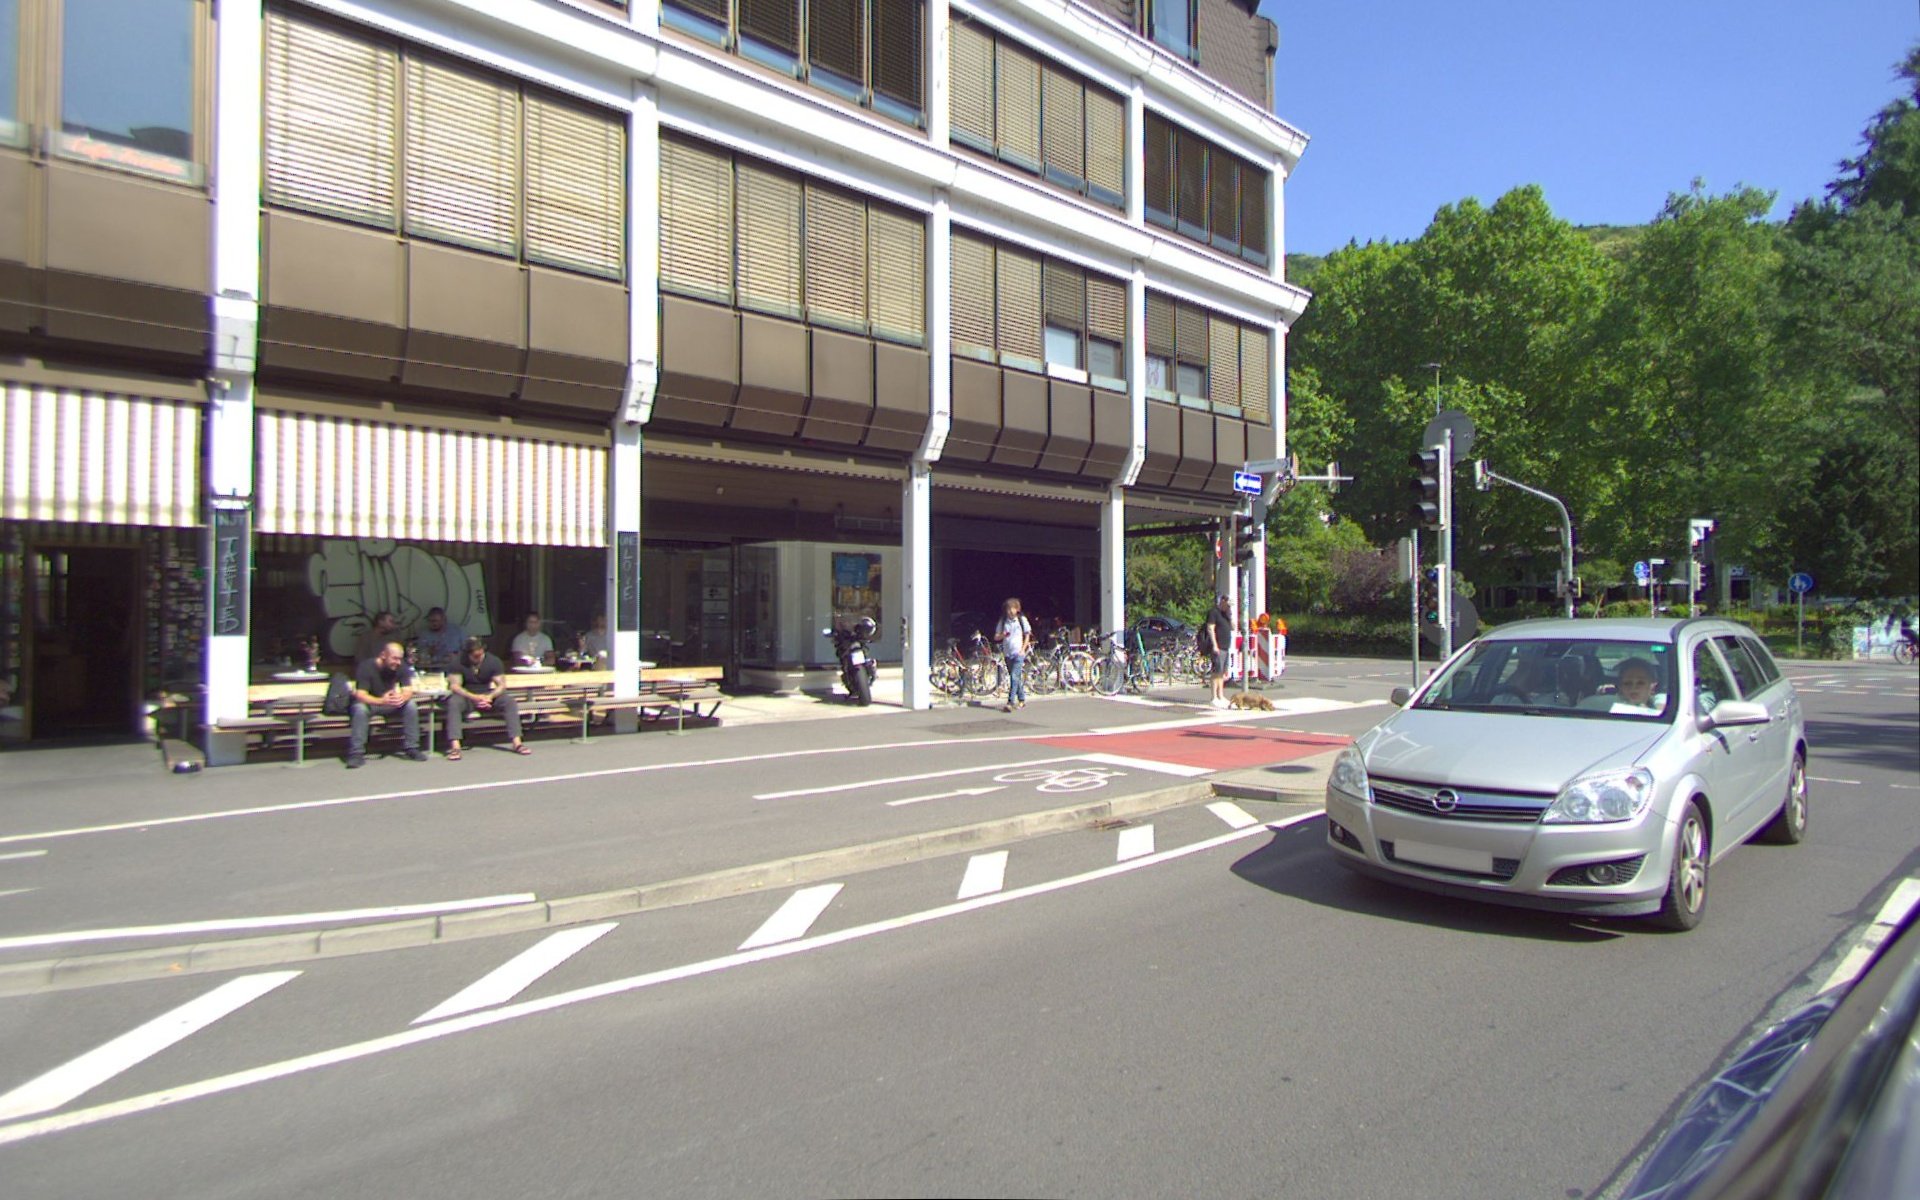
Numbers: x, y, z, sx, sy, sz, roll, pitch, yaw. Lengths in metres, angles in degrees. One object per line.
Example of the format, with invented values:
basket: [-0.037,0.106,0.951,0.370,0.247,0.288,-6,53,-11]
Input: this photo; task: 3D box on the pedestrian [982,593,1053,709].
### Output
pedestrian: [0.868,0.755,15.347,0.683,1.684,0.836,-1,0,-31]

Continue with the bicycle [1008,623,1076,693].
bicycle: [1.413,0.993,17.705,0.272,1.134,1.576,1,0,-33]

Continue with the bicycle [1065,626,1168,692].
bicycle: [2.855,1.046,18.338,2.199,1.135,0.278,1,-2,-32]

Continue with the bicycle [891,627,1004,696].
bicycle: [-0.251,1.011,17.180,2.230,1.111,0.274,-1,-2,38]

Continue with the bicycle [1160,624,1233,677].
bicycle: [4.896,1.048,20.986,1.442,1.079,0.309,0,0,-4]

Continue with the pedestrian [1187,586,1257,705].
pedestrian: [4.264,0.722,16.487,0.683,1.859,0.836,-1,0,-31]

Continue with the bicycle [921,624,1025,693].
bicycle: [0.190,0.991,17.600,2.235,1.135,0.273,-2,-2,44]

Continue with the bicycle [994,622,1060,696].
bicycle: [1.134,0.996,17.475,0.272,1.222,1.551,1,-2,-33]

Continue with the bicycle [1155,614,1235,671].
bicycle: [5.642,1.006,24.365,1.830,1.334,0.529,0,-1,12]

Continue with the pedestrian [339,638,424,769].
pedestrian: [-5.699,0.987,9.967,0.683,1.187,0.714,-1,0,-31]

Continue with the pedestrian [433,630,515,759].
pedestrian: [-5.038,0.946,10.488,0.683,1.232,0.714,-1,0,-31]

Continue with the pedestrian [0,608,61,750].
pedestrian: [-9.588,0.783,10.369,0.527,1.385,0.837,1,-2,-41]

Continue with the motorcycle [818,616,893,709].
motorcycle: [-1.695,0.932,16.044,0.929,1.307,2.247,-1,0,-12]

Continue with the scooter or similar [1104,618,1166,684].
scooter or similar: [3.441,0.980,19.968,0.471,1.248,1.250,0,-1,-33]

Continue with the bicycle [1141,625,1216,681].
bicycle: [4.396,1.062,20.404,1.446,1.079,0.376,0,0,7]

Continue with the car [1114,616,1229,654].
car: [8.059,1.306,38.810,1.826,1.381,4.092,2,-2,-39]

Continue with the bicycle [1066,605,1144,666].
bicycle: [3.852,0.932,26.895,1.937,1.440,0.529,5,0,12]

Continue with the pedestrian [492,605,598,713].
pedestrian: [-5.653,0.766,13.788,1.086,1.368,0.897,-1,0,-41]

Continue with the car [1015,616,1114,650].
car: [4.410,1.362,43.047,1.826,1.381,4.091,2,-2,-39]

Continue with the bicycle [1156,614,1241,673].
bicycle: [5.597,1.011,23.838,1.936,1.334,0.529,0,-1,12]

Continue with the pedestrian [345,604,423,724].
pedestrian: [-7.107,0.762,12.480,0.685,1.414,0.814,-1,-1,-41]

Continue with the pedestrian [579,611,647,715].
pedestrian: [-4.943,0.877,14.413,0.684,1.414,0.712,-1,0,-41]

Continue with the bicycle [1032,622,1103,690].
bicycle: [1.935,0.997,18.500,0.272,1.134,1.723,1,0,-33]

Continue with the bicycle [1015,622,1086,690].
bicycle: [1.613,0.983,18.283,0.272,1.134,1.723,1,0,-33]

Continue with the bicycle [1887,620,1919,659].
bicycle: [29.241,1.186,30.624,1.645,1.135,0.784,-1,-1,-3]

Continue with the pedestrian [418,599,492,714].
pedestrian: [-6.520,0.702,13.069,0.684,1.414,0.712,-1,0,-41]

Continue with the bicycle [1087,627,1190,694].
bicycle: [3.222,1.062,18.115,2.199,1.135,0.278,1,-2,-32]

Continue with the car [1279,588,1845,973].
car: [3.880,0.753,6.162,4.330,1.542,1.709,1,-2,-42]

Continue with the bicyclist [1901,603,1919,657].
bicyclist: [29.311,0.904,30.555,0.925,1.595,0.868,-1,0,-3]

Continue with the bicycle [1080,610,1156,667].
bicycle: [4.099,0.980,26.232,1.936,1.440,0.529,0,-1,12]
